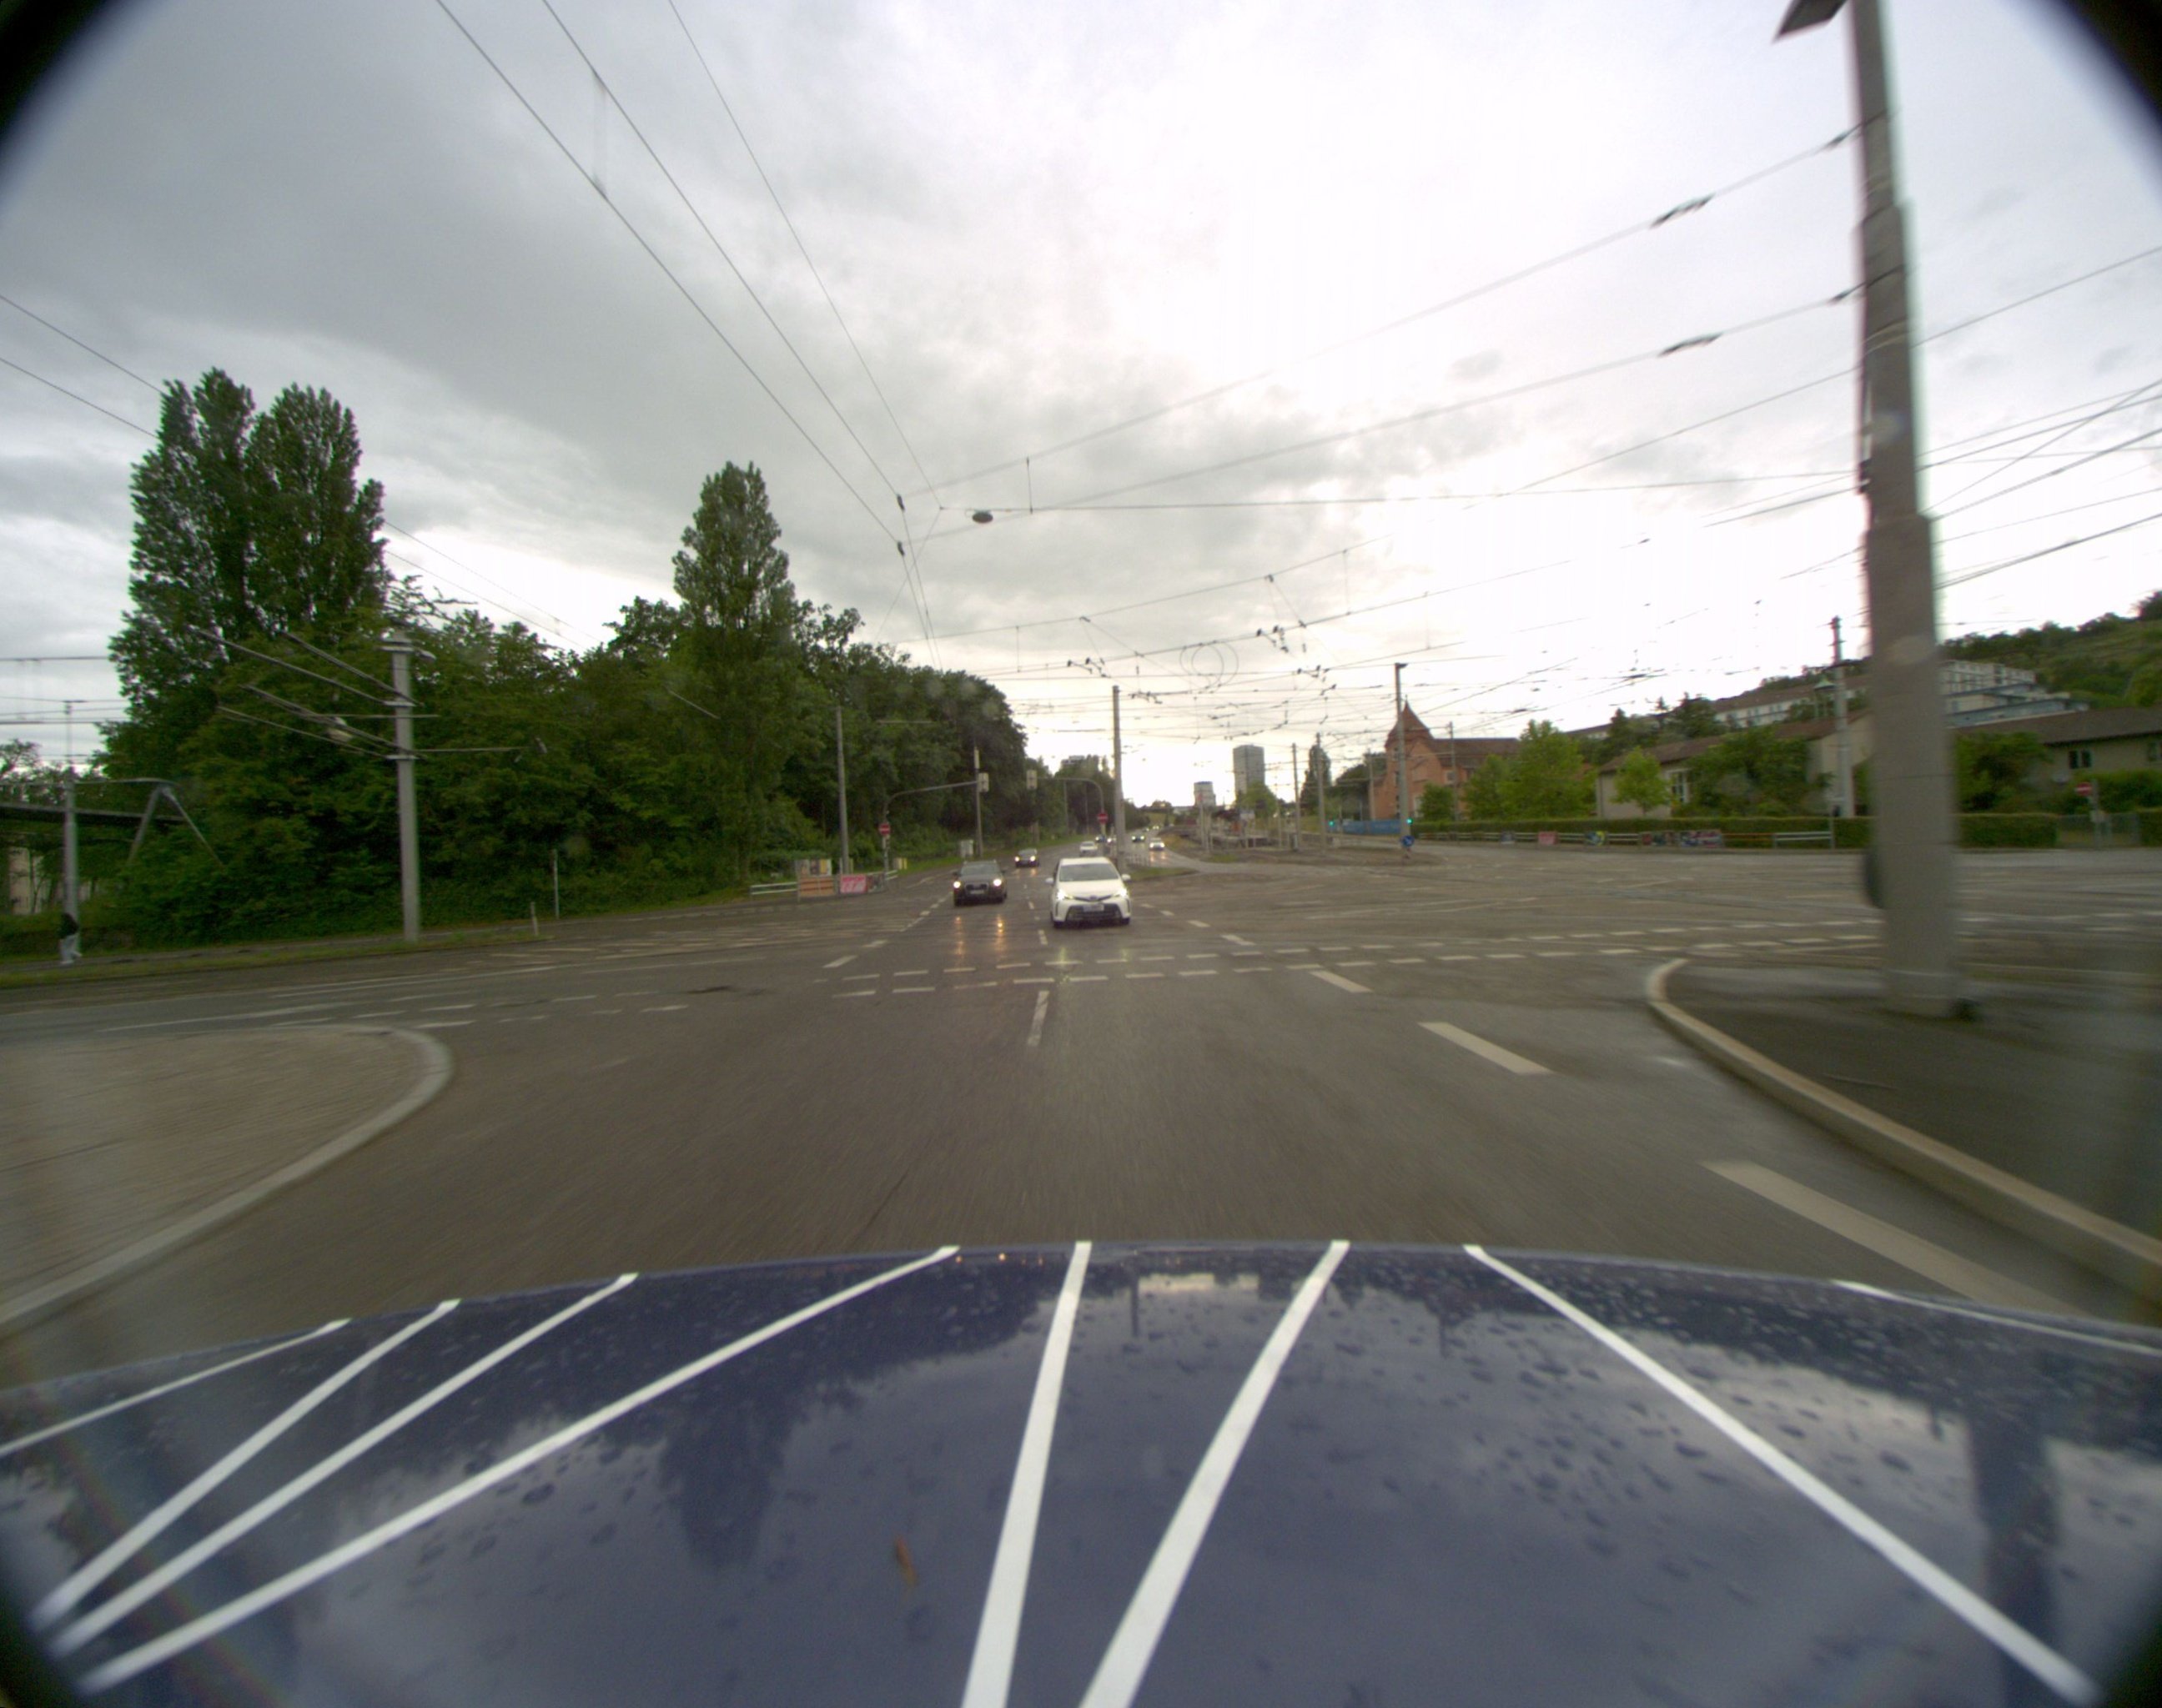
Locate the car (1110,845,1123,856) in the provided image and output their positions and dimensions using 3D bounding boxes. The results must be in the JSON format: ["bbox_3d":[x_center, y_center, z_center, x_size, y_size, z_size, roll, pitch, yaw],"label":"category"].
[{"bbox_3d":[5.637,-0.567,120.404,1.801,1.463,4.000,-3,1,4],"label":"car"}]

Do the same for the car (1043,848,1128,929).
[{"bbox_3d":[0.225,0.801,19.815,1.855,1.741,4.000,-5,1,4],"label":"car"}]

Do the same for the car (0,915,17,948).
[{"bbox_3d":[-51.516,3.713,35.226,1.741,1.552,3.743,-5,1,-43],"label":"car"}]

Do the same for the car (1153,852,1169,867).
[{"bbox_3d":[9.718,0.679,92.329,1.737,1.579,4.001,-2,2,8],"label":"car"}]

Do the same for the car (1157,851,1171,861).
[{"bbox_3d":[14.220,0.283,129.929,1.802,1.502,4.001,-3,-2,-1],"label":"car"}]

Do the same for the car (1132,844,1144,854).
[{"bbox_3d":[9.596,-0.828,127.723,1.801,1.463,3.999,-3,2,2],"label":"car"}]

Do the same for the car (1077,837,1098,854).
[{"bbox_3d":[0.727,-0.928,82.308,1.737,1.579,4.001,-2,2,8],"label":"car"}]

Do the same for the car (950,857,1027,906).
[{"bbox_3d":[-3.399,0.971,28.775,1.855,1.578,4.002,-3,1,8],"label":"car"}]

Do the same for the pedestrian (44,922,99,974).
[{"bbox_3d":[-32.226,2.985,24.275,0.655,1.545,0.809,-4,-1,-16],"label":"pedestrian"}]

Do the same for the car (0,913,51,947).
[{"bbox_3d":[-55.158,3.926,39.146,1.741,1.552,3.743,-5,1,-43],"label":"car"}]

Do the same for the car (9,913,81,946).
[{"bbox_3d":[-59.830,4.326,43.938,1.741,1.552,3.743,-5,1,-43],"label":"car"}]

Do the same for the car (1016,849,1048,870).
[{"bbox_3d":[-4.018,0.453,62.575,1.737,1.578,4.002,-3,0,8],"label":"car"}]

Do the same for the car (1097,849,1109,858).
[{"bbox_3d":[3.941,-0.129,135.402,1.801,1.463,4.000,-3,1,4],"label":"car"}]
